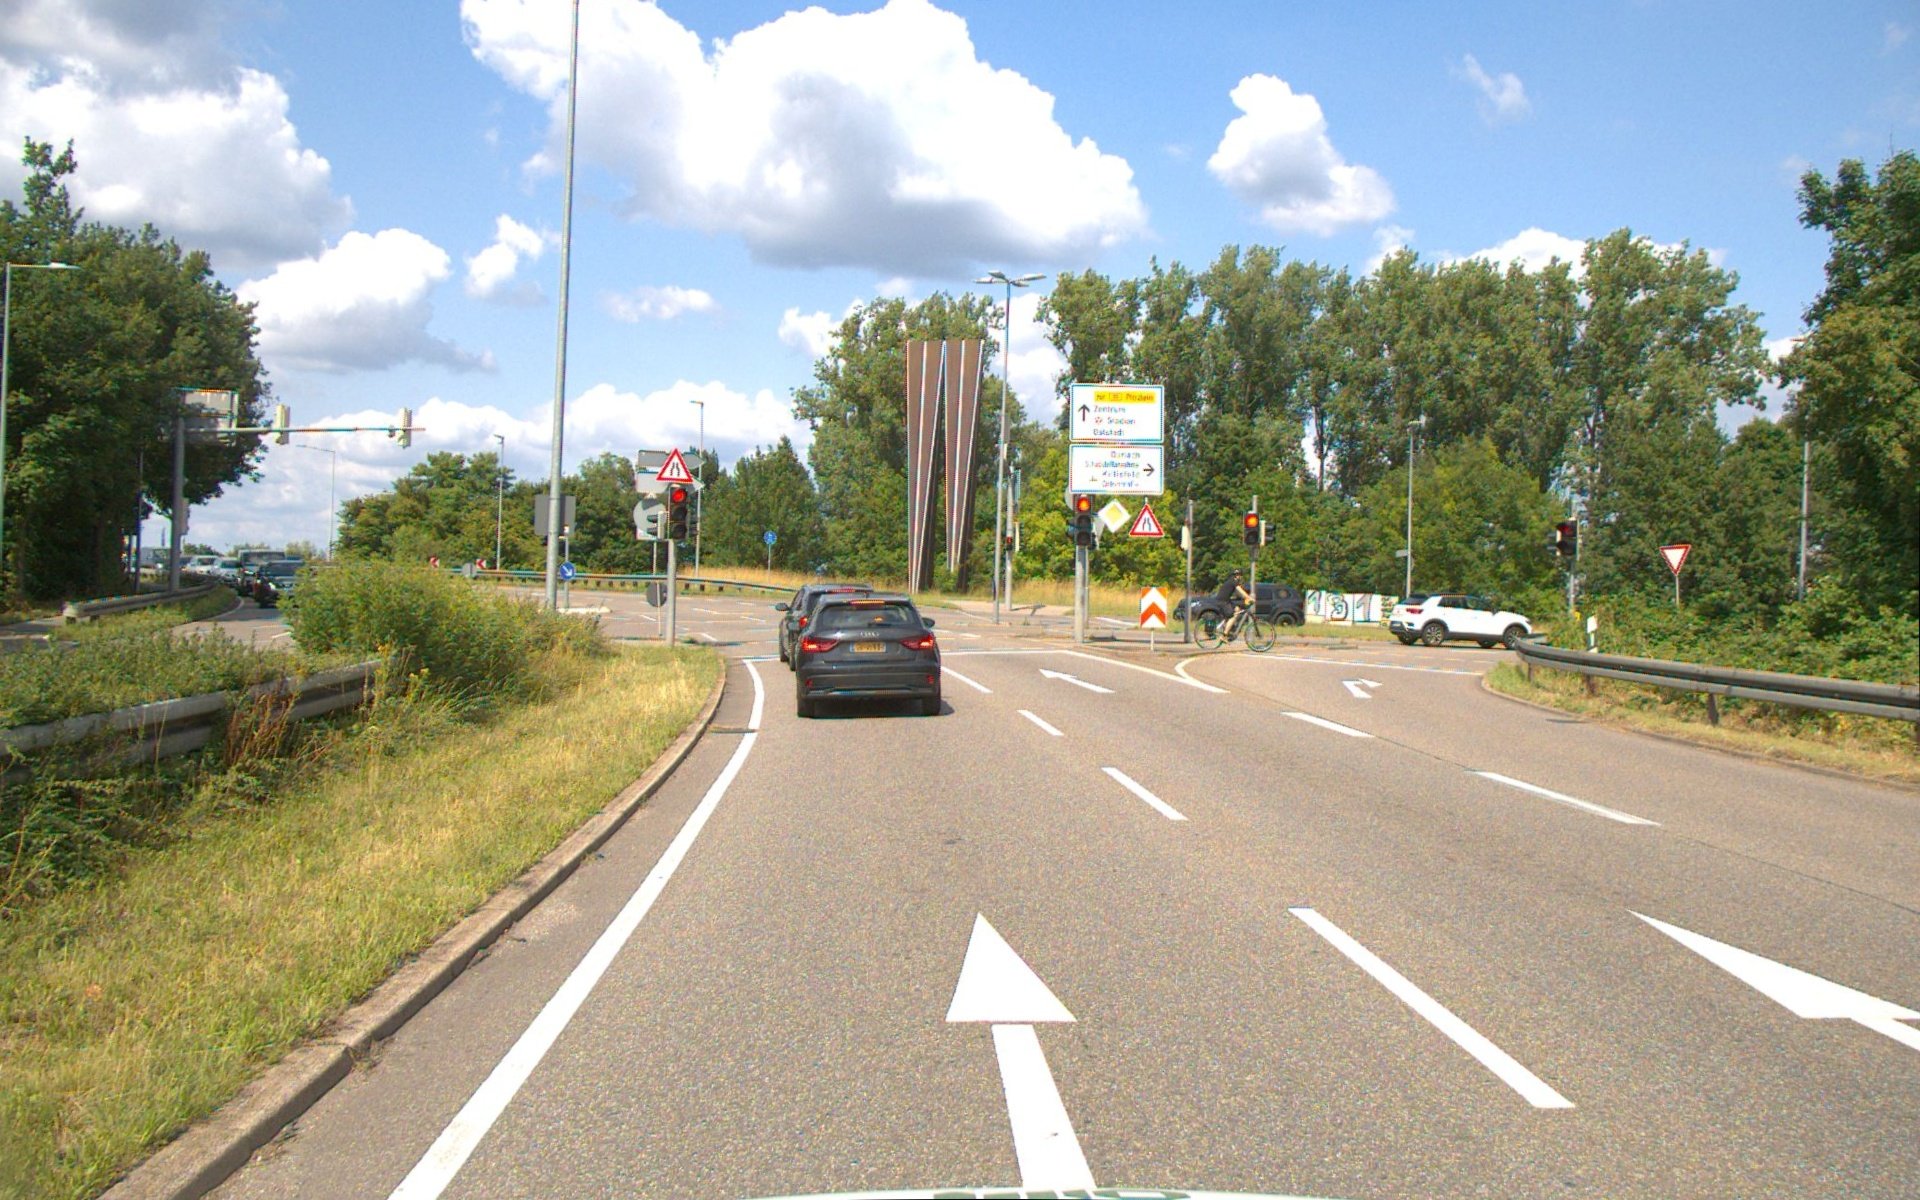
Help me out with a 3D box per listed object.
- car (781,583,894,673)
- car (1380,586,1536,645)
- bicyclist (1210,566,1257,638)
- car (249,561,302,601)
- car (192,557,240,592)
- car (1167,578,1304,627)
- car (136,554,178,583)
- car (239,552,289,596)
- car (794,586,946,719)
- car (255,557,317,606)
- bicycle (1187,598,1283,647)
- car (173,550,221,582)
[{"bbox_3d":[-2.229,0.442,29.381,1.694,1.448,3.837,-1,1,-9],"label":"car"},{"bbox_3d":[14.441,0.439,48.068,3.961,1.502,1.733,3,0,-11],"label":"car"},{"bbox_3d":[6.076,0.045,36.731,0.819,1.587,0.670,1,0,-12],"label":"bicyclist"},{"bbox_3d":[-27.034,-0.755,65.275,1.710,1.502,4.014,1,1,-25],"label":"car"},{"bbox_3d":[-38.124,-1.319,84.681,1.824,1.735,4.283,1,1,-30],"label":"car"},{"bbox_3d":[9.136,0.078,55.051,4.186,1.572,1.735,1,1,-6],"label":"car"},{"bbox_3d":[-48.831,-1.915,100.514,1.826,1.735,4.278,0,1,-33],"label":"car"},{"bbox_3d":[-30.067,-1.121,71.375,1.820,1.833,4.292,1,1,-25],"label":"car"},{"bbox_3d":[-1.181,0.571,20.602,1.692,1.428,3.996,-1,1,-5],"label":"car"},{"bbox_3d":[-23.660,-0.615,57.959,1.816,1.646,3.968,0,-1,-25],"label":"car"},{"bbox_3d":[6.118,0.495,36.805,2.018,1.041,0.670,1,0,-15],"label":"bicycle"},{"bbox_3d":[-42.023,-1.862,91.085,1.826,1.735,4.277,0,1,-33],"label":"car"}]
